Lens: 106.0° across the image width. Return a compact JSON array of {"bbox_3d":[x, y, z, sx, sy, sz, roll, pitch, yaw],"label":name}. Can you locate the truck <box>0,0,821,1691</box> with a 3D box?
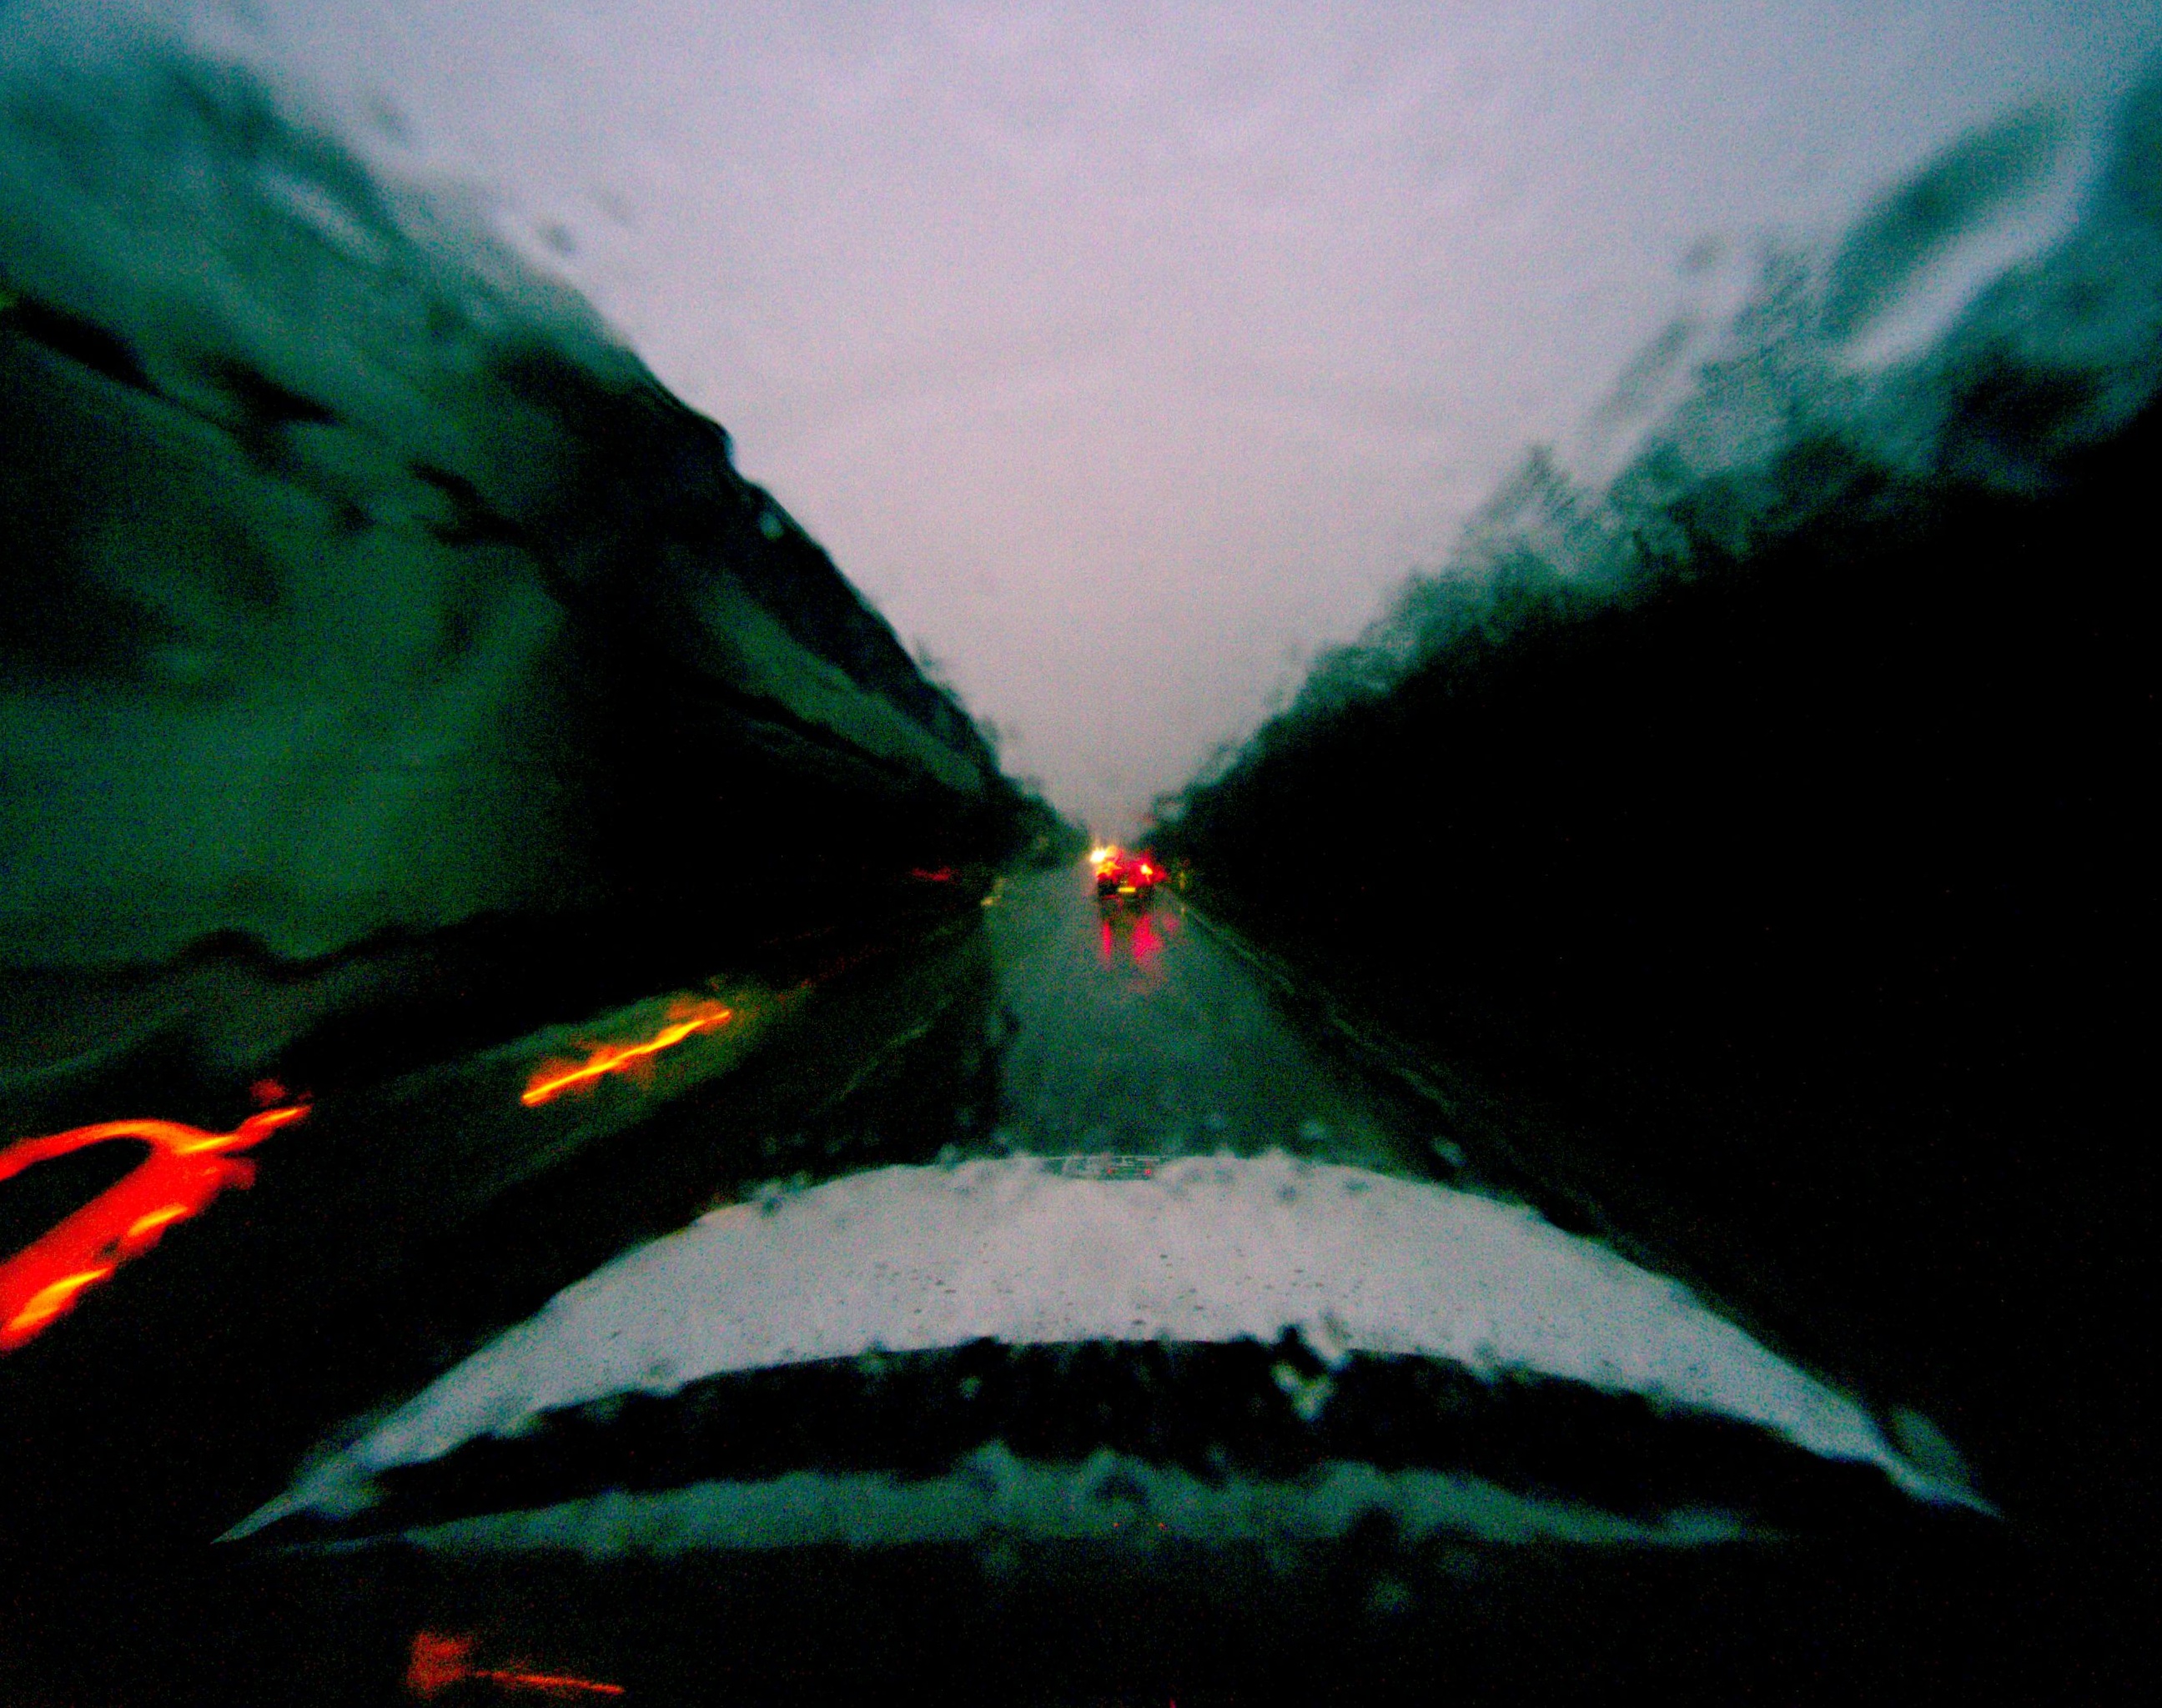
[{"bbox_3d":[-3.453,-0.495,3.575,2.632,4.416,5.556,-1,0,2],"label":"truck"}]

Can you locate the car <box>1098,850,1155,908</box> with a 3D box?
[{"bbox_3d":[1.437,0.744,25.471,1.641,1.672,3.517,-1,0,3],"label":"car"}]

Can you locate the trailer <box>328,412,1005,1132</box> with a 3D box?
[{"bbox_3d":[-3.169,-0.495,11.195,2.661,4.458,12.247,-1,0,2],"label":"trailer"}]

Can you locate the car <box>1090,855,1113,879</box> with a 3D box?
[{"bbox_3d":[1.664,1.011,64.186,1.726,1.779,4.002,-1,0,2],"label":"car"}]
